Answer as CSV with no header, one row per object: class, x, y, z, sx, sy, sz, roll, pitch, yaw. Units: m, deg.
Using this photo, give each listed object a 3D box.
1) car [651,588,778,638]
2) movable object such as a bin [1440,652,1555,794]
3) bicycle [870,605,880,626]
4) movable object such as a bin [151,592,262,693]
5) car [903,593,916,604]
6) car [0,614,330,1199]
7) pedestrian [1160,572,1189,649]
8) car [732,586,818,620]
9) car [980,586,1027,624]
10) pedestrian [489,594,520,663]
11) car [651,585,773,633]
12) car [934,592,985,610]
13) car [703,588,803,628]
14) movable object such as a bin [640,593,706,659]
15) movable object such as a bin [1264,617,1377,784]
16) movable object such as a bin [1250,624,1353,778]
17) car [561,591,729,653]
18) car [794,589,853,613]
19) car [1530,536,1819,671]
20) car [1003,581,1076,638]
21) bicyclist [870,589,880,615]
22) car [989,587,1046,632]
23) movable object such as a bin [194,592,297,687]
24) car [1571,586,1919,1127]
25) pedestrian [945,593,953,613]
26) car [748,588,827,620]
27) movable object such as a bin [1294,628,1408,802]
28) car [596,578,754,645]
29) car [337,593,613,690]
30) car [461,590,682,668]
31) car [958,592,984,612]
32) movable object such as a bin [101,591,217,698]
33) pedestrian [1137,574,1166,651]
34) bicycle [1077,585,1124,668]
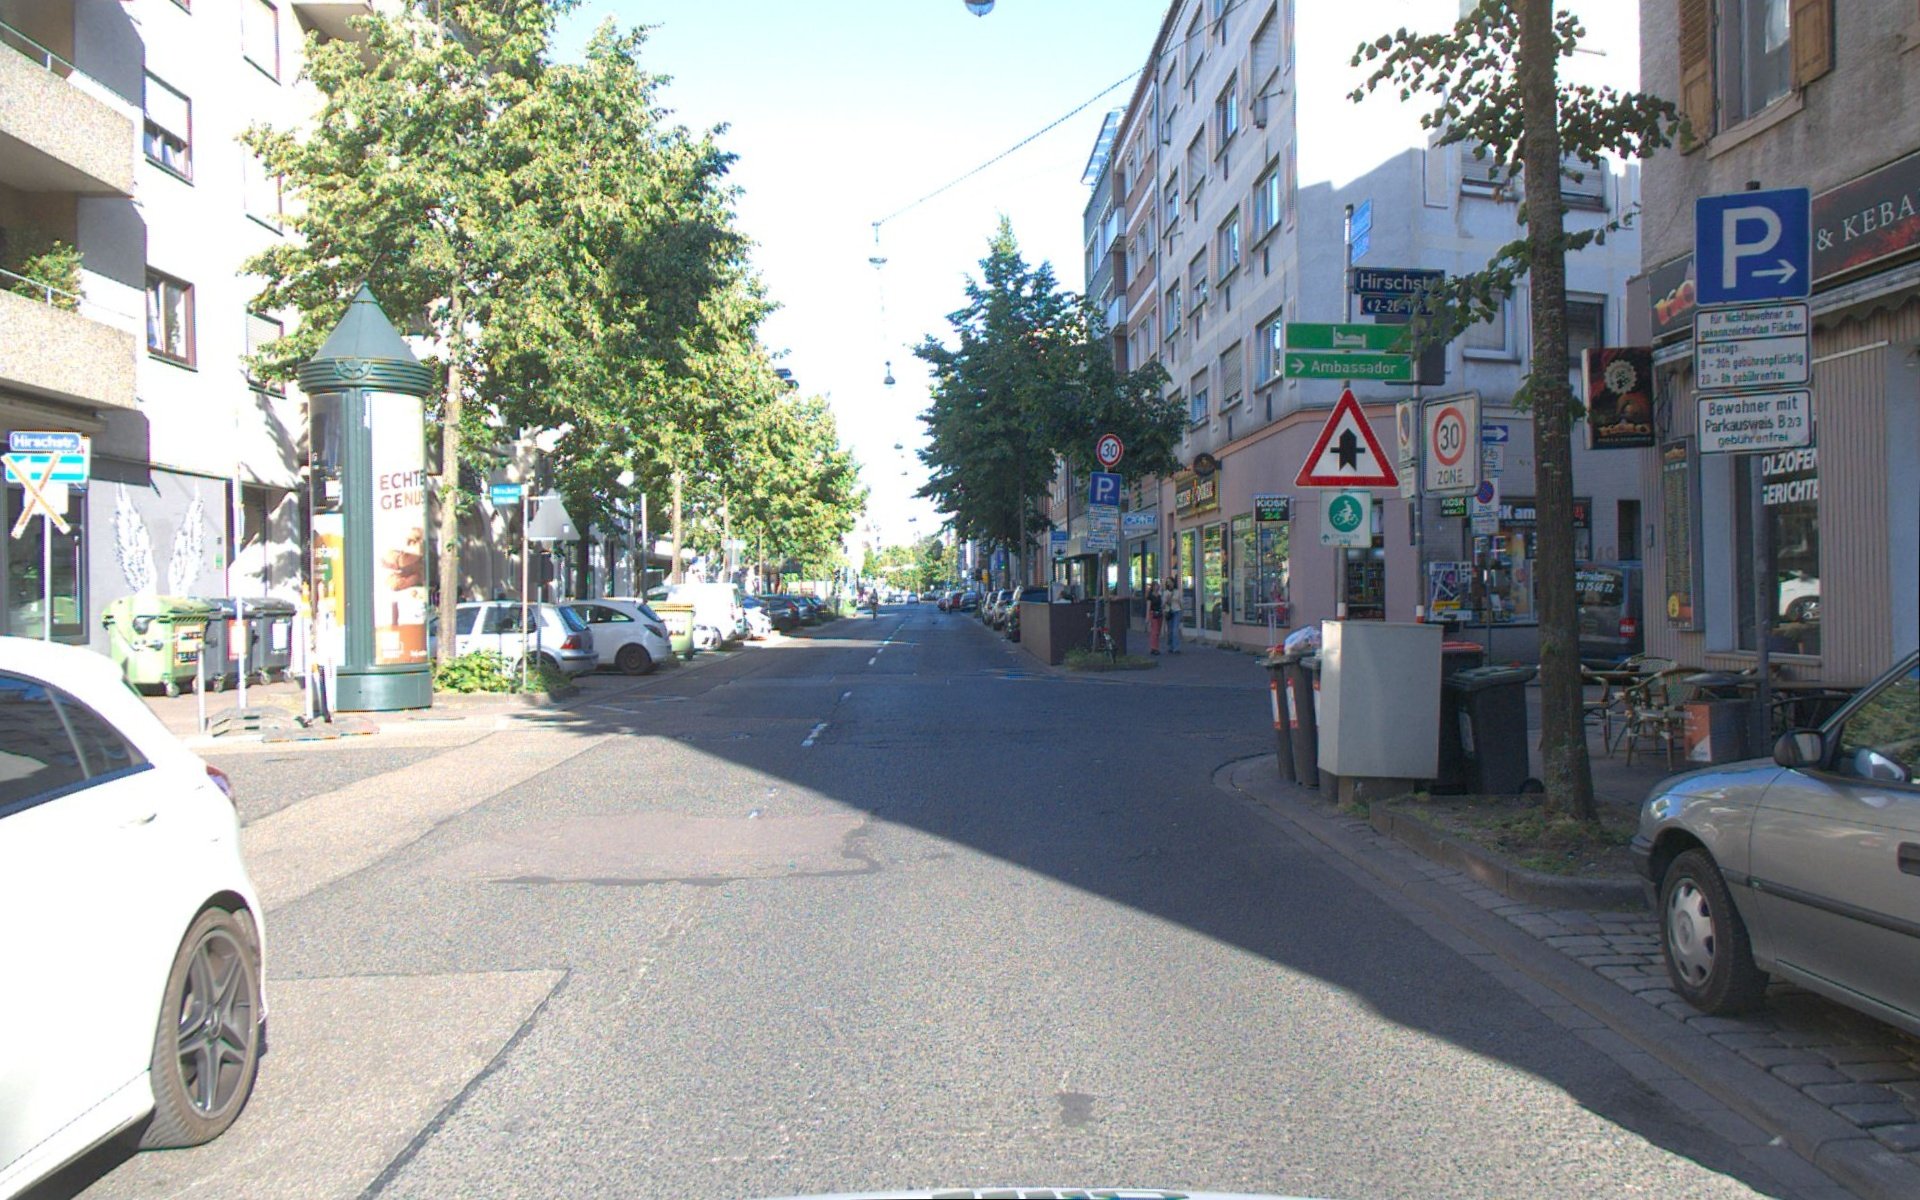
car,-8.061,0.418,54.497,3.907,1.526,1.999,-1,0,-2
movable object such as a bin,3.685,0.831,11.373,0.551,0.911,0.628,-1,0,-4
bicycle,-5.069,0.928,98.992,0.549,1.200,1.628,0,0,-1
movable object such as a bin,-11.776,0.648,25.914,1.148,1.511,1.314,-1,0,-3
car,-6.941,-0.233,229.340,1.756,1.436,3.999,-1,1,-1
car,-2.800,0.791,2.986,1.766,1.460,4.407,0,0,-2
pedestrian,4.787,0.226,36.950,0.536,1.678,0.664,-1,0,-1
car,-8.827,0.141,79.202,3.907,1.526,1.999,-1,0,-2
car,1.976,0.211,76.822,1.953,1.637,3.999,-1,1,-1
pedestrian,-11.188,0.694,40.608,0.535,1.678,0.664,-1,0,1
car,-8.507,0.306,56.994,3.907,1.526,1.999,-1,-1,-2
car,-0.075,0.096,140.451,3.955,1.467,1.975,0,-1,-36
car,-8.512,0.330,68.438,3.907,1.526,1.999,-1,0,-2
movable object such as a bin,-6.838,0.614,39.473,1.307,1.504,1.480,-1,0,-2
movable object such as a bin,2.811,0.769,12.948,0.691,1.244,0.680,-1,0,-4
movable object such as a bin,2.815,0.819,13.691,0.646,1.200,0.739,-1,0,-4
car,-8.127,0.559,42.878,3.903,1.482,1.869,-1,0,3
car,-9.363,0.055,113.388,3.907,1.526,1.999,-1,0,-2
car,11.916,0.014,27.529,4.629,2.049,1.981,-2,1,-29
car,2.400,0.274,50.817,1.953,1.637,3.999,-1,1,-1
bicyclist,-5.067,0.118,99.017,0.549,1.575,0.728,0,-1,-1
car,2.206,0.349,64.189,1.953,1.637,3.999,-1,1,-1
movable object such as a bin,-11.872,0.635,27.542,1.148,1.511,1.314,-1,0,-3
car,3.503,0.695,4.646,1.786,1.415,4.299,-3,0,-2
pedestrian,-0.802,0.235,124.601,0.534,1.498,0.546,-2,0,-3
car,-8.884,0.183,85.446,3.907,1.526,1.999,-1,0,-2
movable object such as a bin,2.851,0.820,12.111,0.609,1.200,0.711,-1,0,-4
car,-7.840,0.307,45.684,3.903,1.724,2.001,-1,0,3
car,-7.827,0.649,26.984,3.907,1.414,1.999,-1,1,-2
car,-7.620,0.549,32.776,3.907,1.414,1.999,-1,1,-2
car,0.866,0.189,132.161,1.953,1.534,3.998,0,0,-2
movable object such as a bin,-11.818,0.635,24.456,1.117,1.511,1.235,-1,0,-3
pedestrian,4.238,0.262,36.641,0.536,1.678,0.664,-1,0,-1
bicycle,2.642,0.480,31.155,0.549,1.465,1.628,-7,1,-1
